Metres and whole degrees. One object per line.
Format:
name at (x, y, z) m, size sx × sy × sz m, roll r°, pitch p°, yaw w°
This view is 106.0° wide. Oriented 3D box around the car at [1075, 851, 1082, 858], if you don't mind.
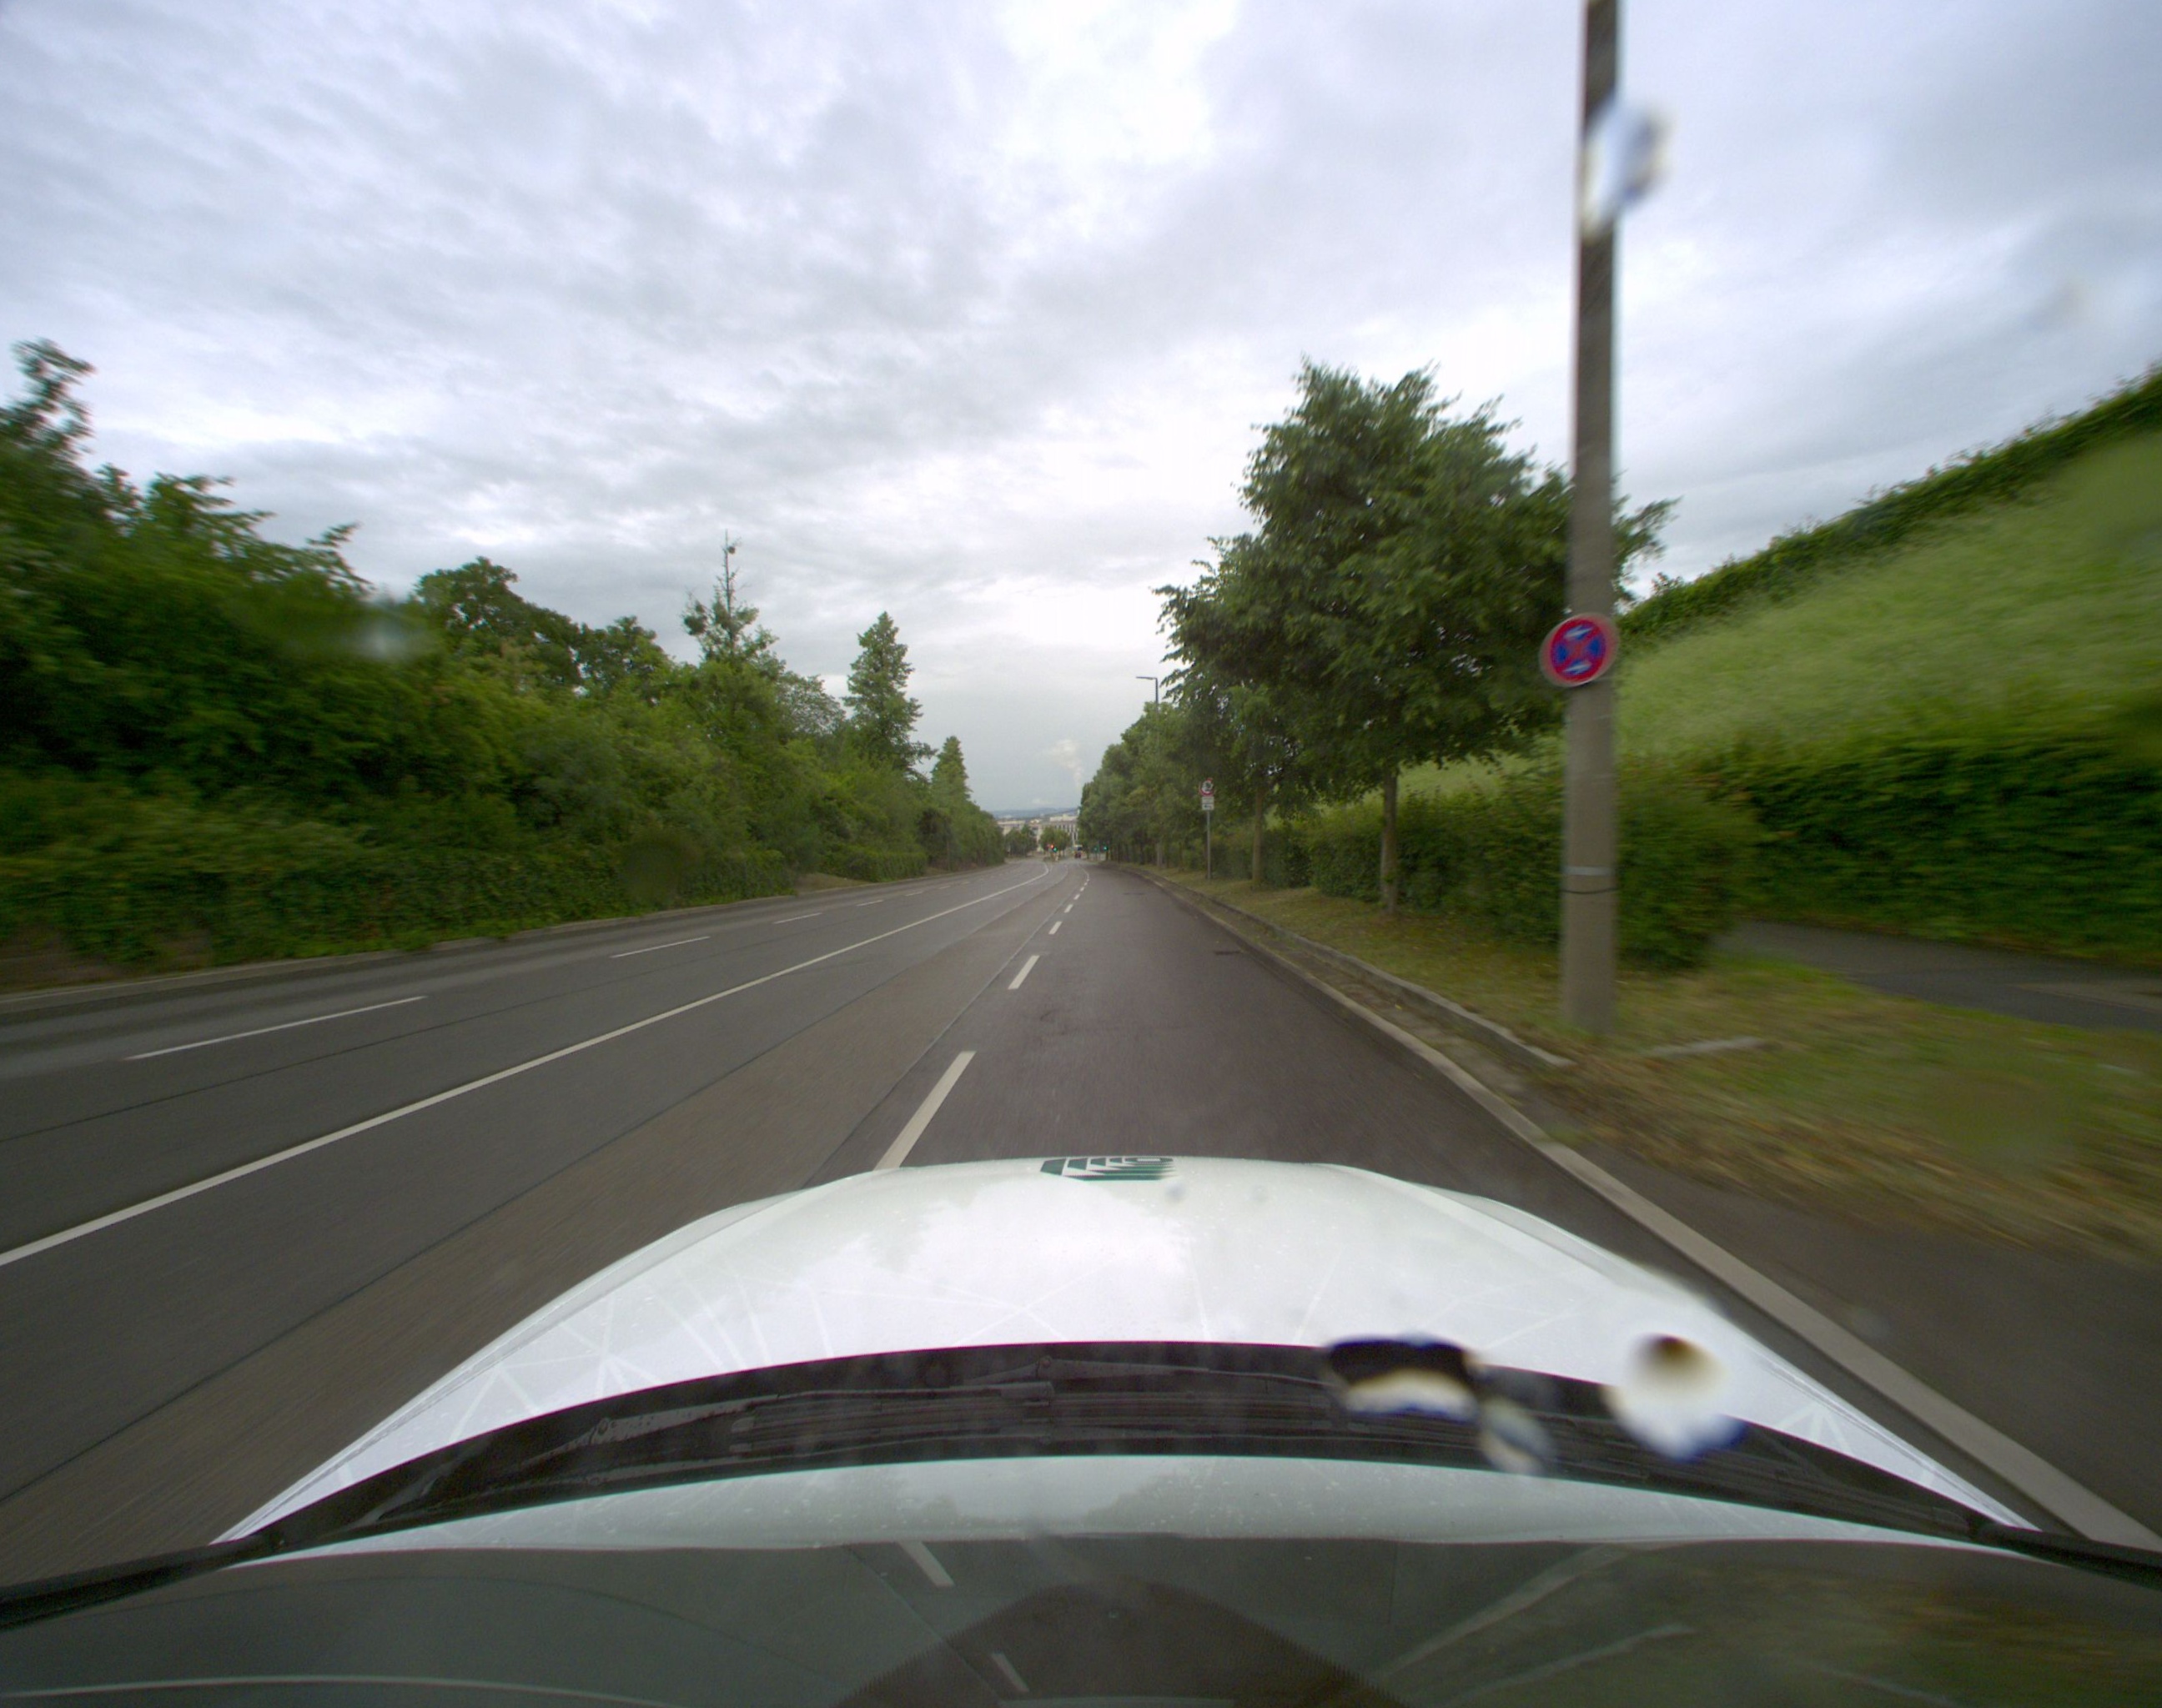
car at (-0.636, 0.152, 227.006) m, size 1.842 × 1.702 × 3.793 m, roll 0°, pitch -1°, yaw 1°
